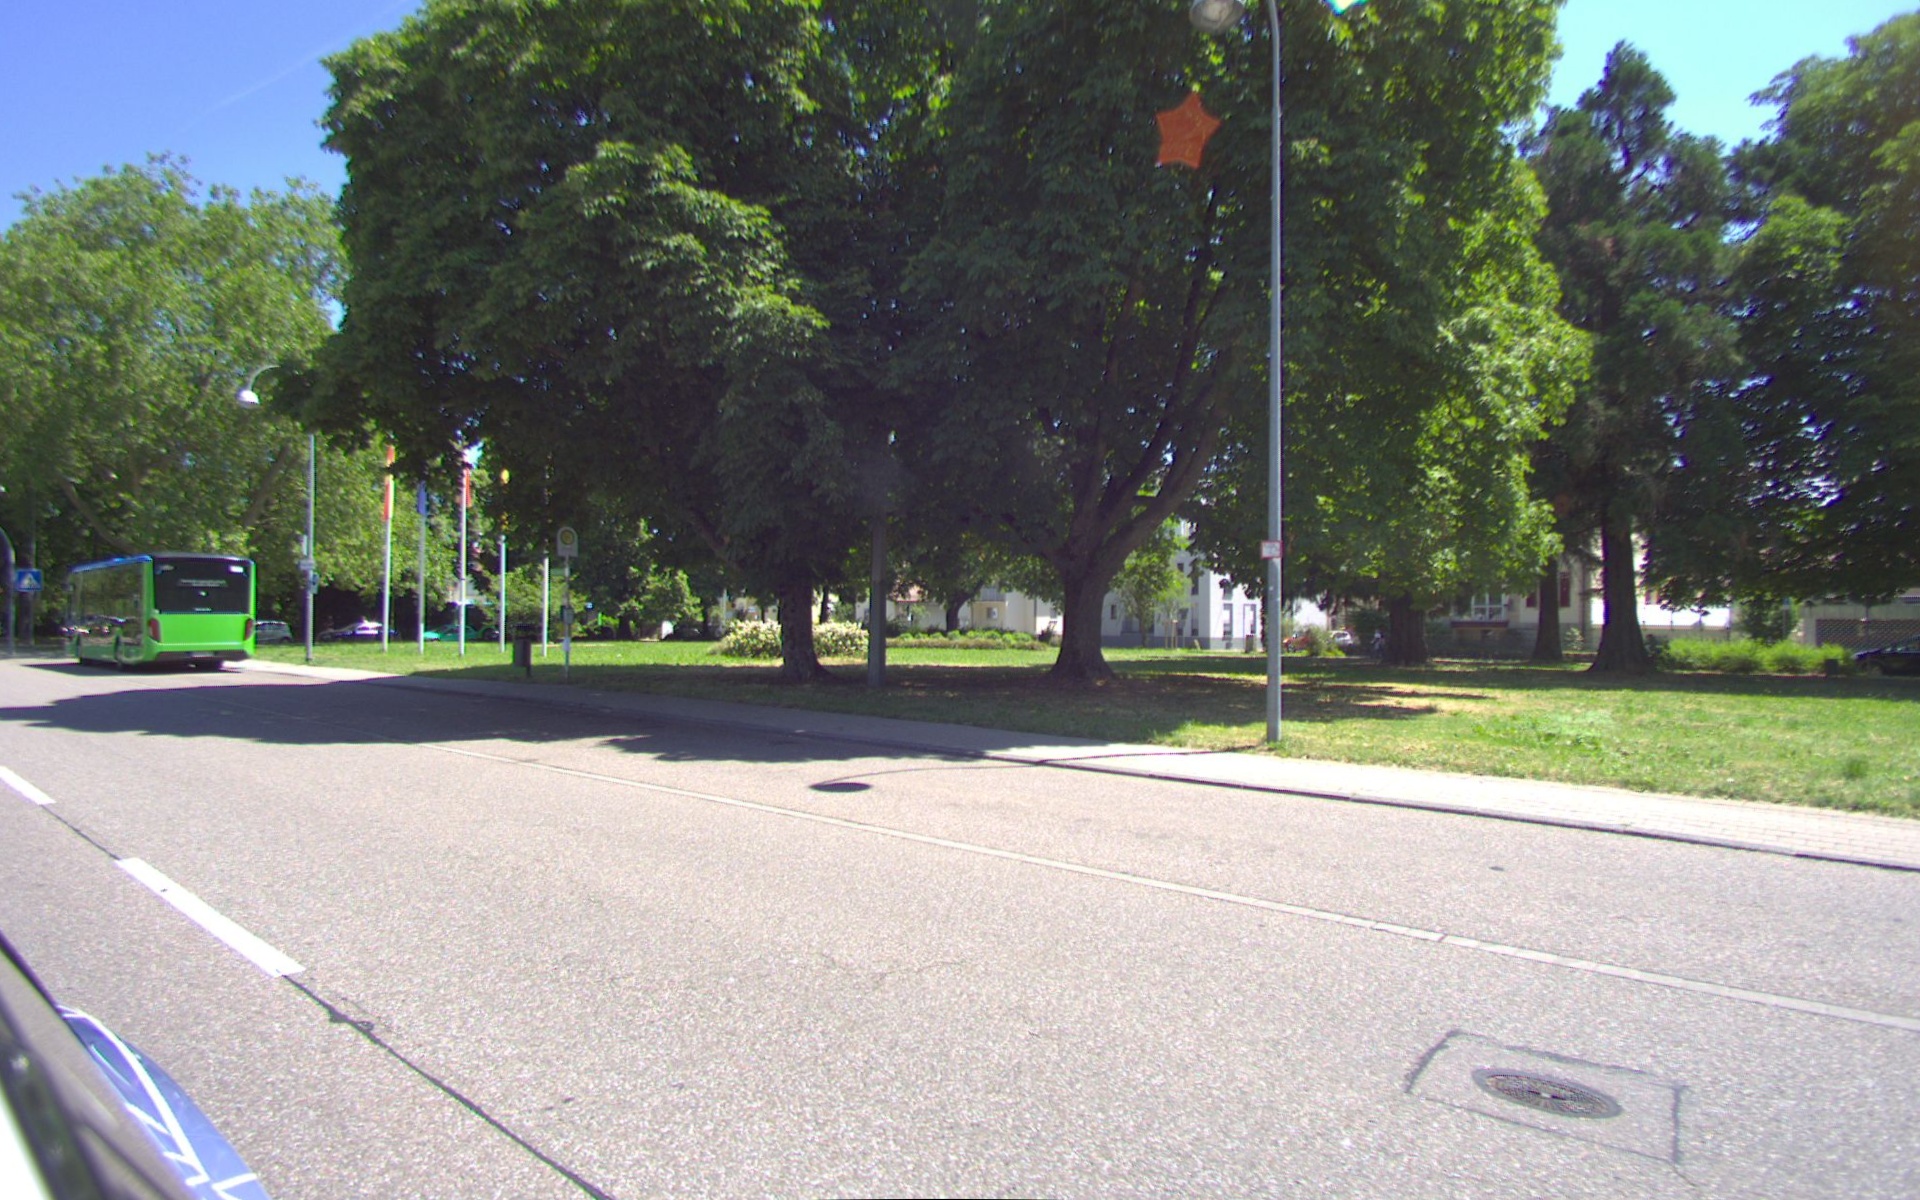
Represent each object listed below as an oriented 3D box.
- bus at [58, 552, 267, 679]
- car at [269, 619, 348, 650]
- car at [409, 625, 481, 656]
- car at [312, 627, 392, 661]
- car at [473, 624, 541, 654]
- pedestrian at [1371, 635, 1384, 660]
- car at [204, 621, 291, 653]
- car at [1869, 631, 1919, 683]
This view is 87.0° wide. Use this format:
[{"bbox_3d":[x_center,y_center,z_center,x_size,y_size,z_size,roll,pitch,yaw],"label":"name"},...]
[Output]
[{"bbox_3d":[-24.990,0.511,31.349,11.849,3.328,2.778,-1,-2,40],"label":"bus"},{"bbox_3d":[-43.475,2.280,67.613,3.933,2.029,2.005,1,-2,-13],"label":"car"},{"bbox_3d":[-35.062,2.714,68.957,1.999,2.029,3.946,-1,-2,40],"label":"car"},{"bbox_3d":[-38.659,2.768,64.386,2.000,2.029,3.943,-1,-2,43],"label":"car"},{"bbox_3d":[-32.371,2.773,72.320,1.999,2.029,3.946,-1,-2,40],"label":"car"},{"bbox_3d":[24.163,2.732,58.586,0.591,1.401,0.506,-1,-2,40],"label":"pedestrian"},{"bbox_3d":[-42.690,2.208,60.706,2.000,1.817,3.943,-1,-2,43],"label":"car"},{"bbox_3d":[34.243,1.964,34.815,1.966,1.792,4.011,1,-2,-33],"label":"car"}]
